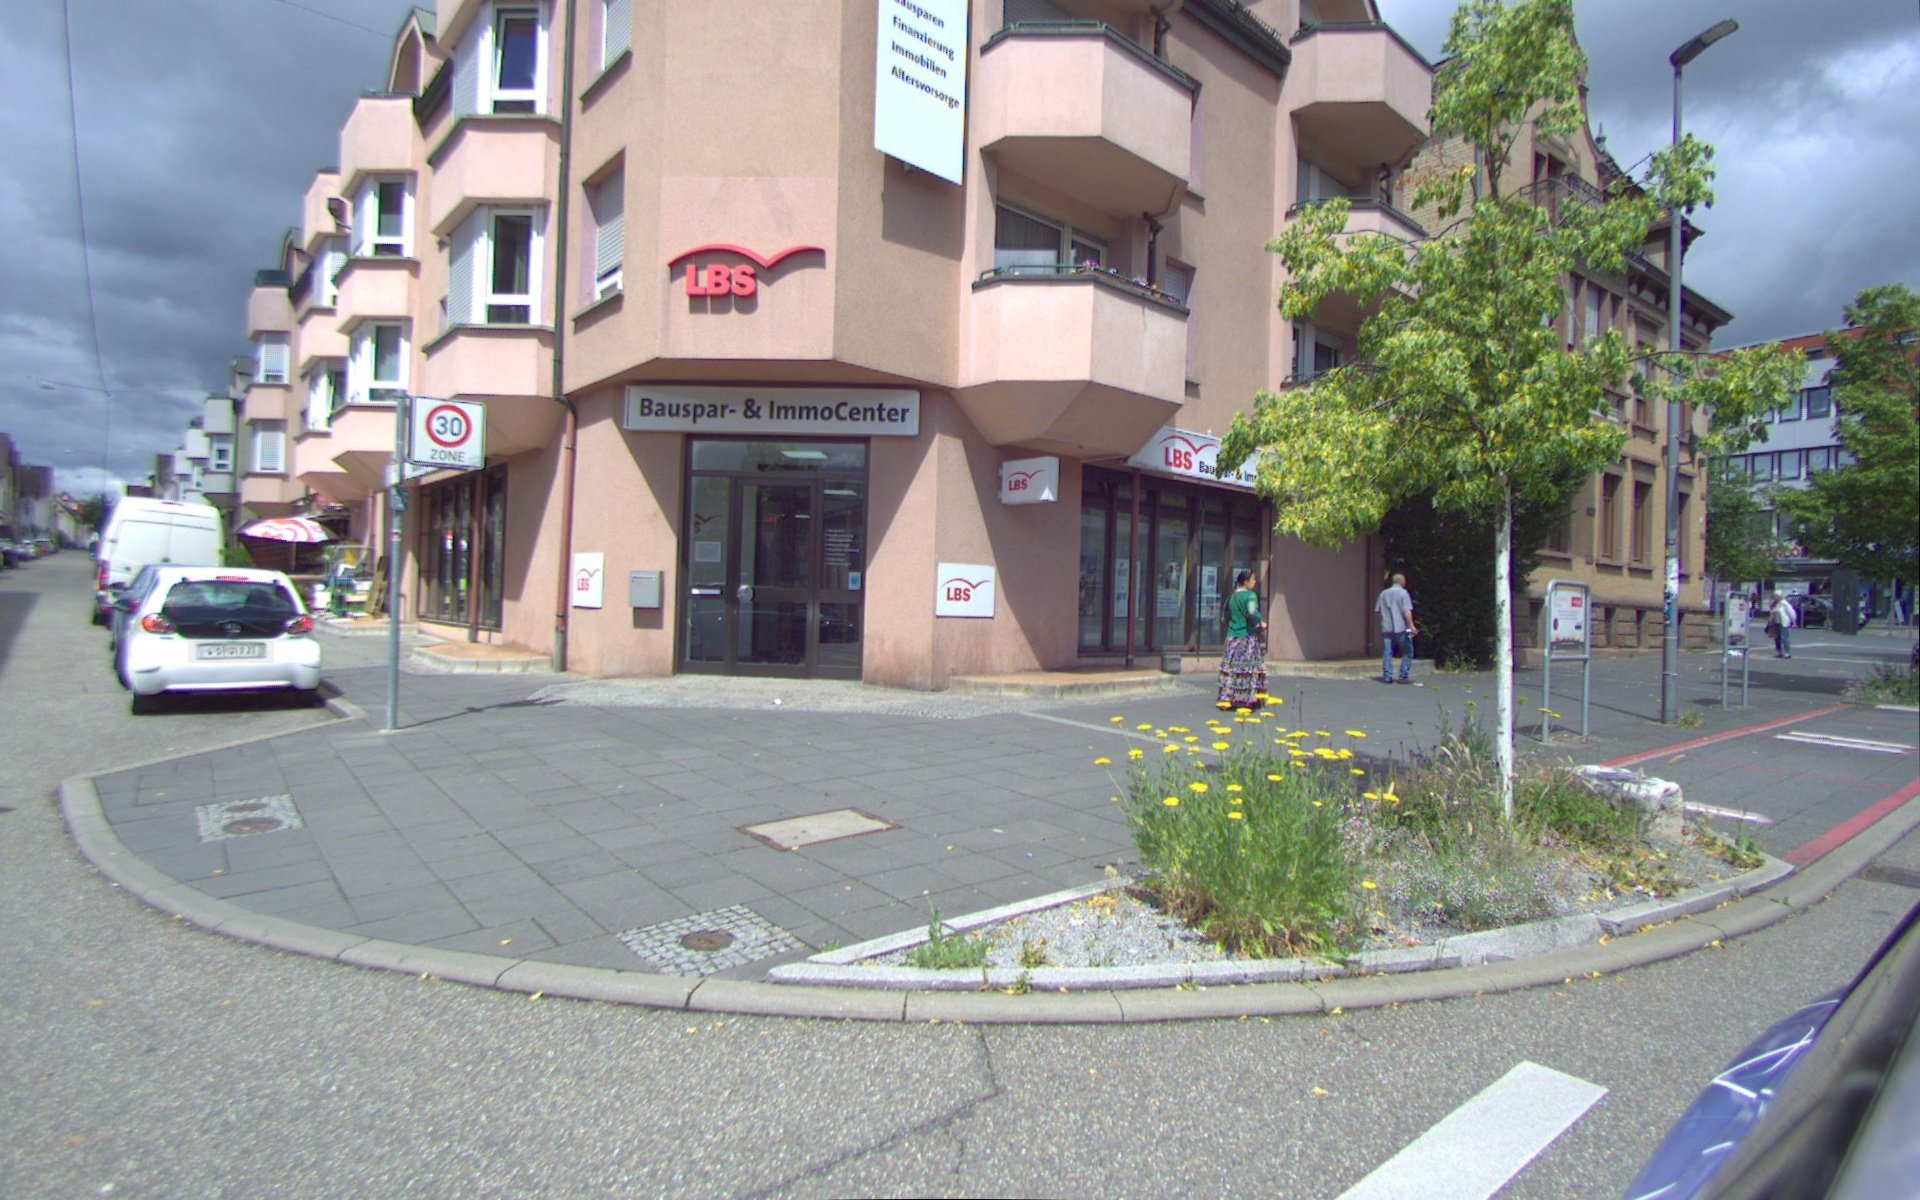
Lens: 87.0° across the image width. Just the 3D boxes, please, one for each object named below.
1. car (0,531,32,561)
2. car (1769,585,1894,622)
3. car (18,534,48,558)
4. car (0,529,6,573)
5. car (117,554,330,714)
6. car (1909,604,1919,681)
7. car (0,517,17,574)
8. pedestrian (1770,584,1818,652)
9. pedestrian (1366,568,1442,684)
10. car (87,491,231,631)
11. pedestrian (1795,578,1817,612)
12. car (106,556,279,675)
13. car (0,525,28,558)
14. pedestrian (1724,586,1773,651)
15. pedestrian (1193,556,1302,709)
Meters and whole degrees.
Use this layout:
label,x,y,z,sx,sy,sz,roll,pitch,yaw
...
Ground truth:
label,x,y,z,sx,sy,sz,roll,pitch,yaw
car,-68.428,-3.908,73.109,1.839,1.971,3.850,0,0,-40
car,40.477,0.175,47.095,1.961,1.672,4.002,1,-1,-32
car,-84.381,-4.869,92.171,1.839,1.971,3.850,0,0,-40
car,-45.748,-2.269,47.013,1.839,1.971,3.850,0,0,-40
car,-8.389,0.276,11.440,1.687,1.495,3.389,2,1,-40
car,20.241,0.833,19.640,4.650,1.431,1.999,0,1,-38
car,-49.770,-2.732,51.764,2.018,2.741,4.710,0,0,-40
pedestrian,21.091,0.436,25.600,0.725,1.679,0.699,0,0,-27
pedestrian,6.833,0.375,15.570,0.928,1.706,0.717,0,2,-42
car,-17.137,-0.822,21.632,2.089,2.586,5.899,2,1,-40
pedestrian,48.387,-0.274,57.885,0.751,1.937,0.686,0,0,-29
car,-11.465,0.145,15.054,1.799,1.495,4.018,2,1,-40
car,-62.904,-3.822,66.800,1.839,1.971,3.850,0,0,-40
pedestrian,20.328,0.471,26.096,0.661,1.660,0.742,0,0,-13
pedestrian,3.310,0.352,11.656,0.910,1.659,0.746,2,1,-39
